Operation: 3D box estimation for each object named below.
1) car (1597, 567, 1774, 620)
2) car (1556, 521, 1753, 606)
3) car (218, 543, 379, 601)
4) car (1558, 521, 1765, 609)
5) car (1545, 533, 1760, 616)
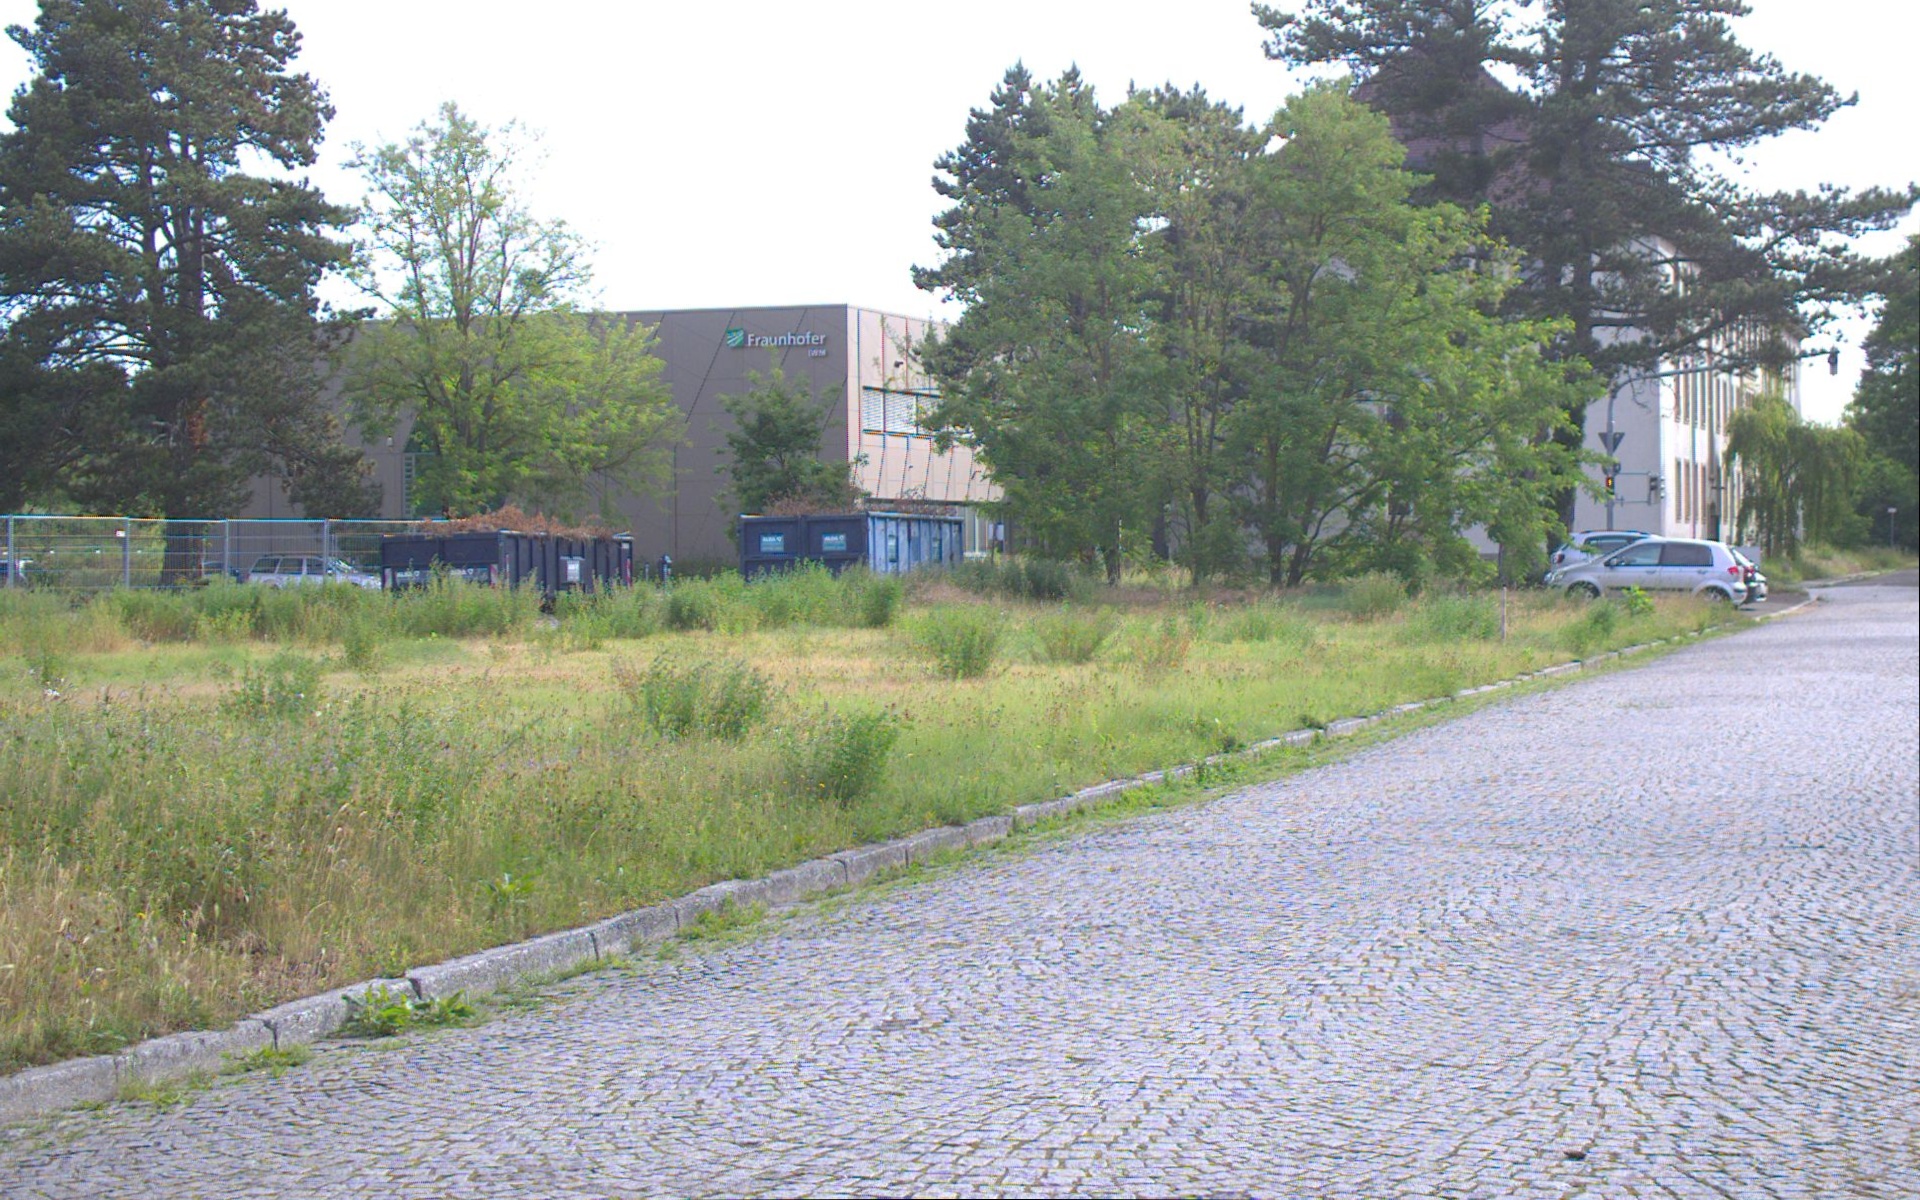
[{"bbox_3d":[15.579,-0.144,73.871,3.672,1.090,1.645,0,1,12],"label":"car"},{"bbox_3d":[14.486,-0.760,71.838,3.989,1.744,1.926,0,1,11],"label":"car"},{"bbox_3d":[-18.288,-0.783,95.080,3.990,1.548,1.807,0,1,17],"label":"car"},{"bbox_3d":[14.054,-0.708,68.882,3.989,1.700,1.999,0,1,12],"label":"car"},{"bbox_3d":[13.380,-0.502,66.450,3.989,1.546,1.999,0,1,12],"label":"car"}]
